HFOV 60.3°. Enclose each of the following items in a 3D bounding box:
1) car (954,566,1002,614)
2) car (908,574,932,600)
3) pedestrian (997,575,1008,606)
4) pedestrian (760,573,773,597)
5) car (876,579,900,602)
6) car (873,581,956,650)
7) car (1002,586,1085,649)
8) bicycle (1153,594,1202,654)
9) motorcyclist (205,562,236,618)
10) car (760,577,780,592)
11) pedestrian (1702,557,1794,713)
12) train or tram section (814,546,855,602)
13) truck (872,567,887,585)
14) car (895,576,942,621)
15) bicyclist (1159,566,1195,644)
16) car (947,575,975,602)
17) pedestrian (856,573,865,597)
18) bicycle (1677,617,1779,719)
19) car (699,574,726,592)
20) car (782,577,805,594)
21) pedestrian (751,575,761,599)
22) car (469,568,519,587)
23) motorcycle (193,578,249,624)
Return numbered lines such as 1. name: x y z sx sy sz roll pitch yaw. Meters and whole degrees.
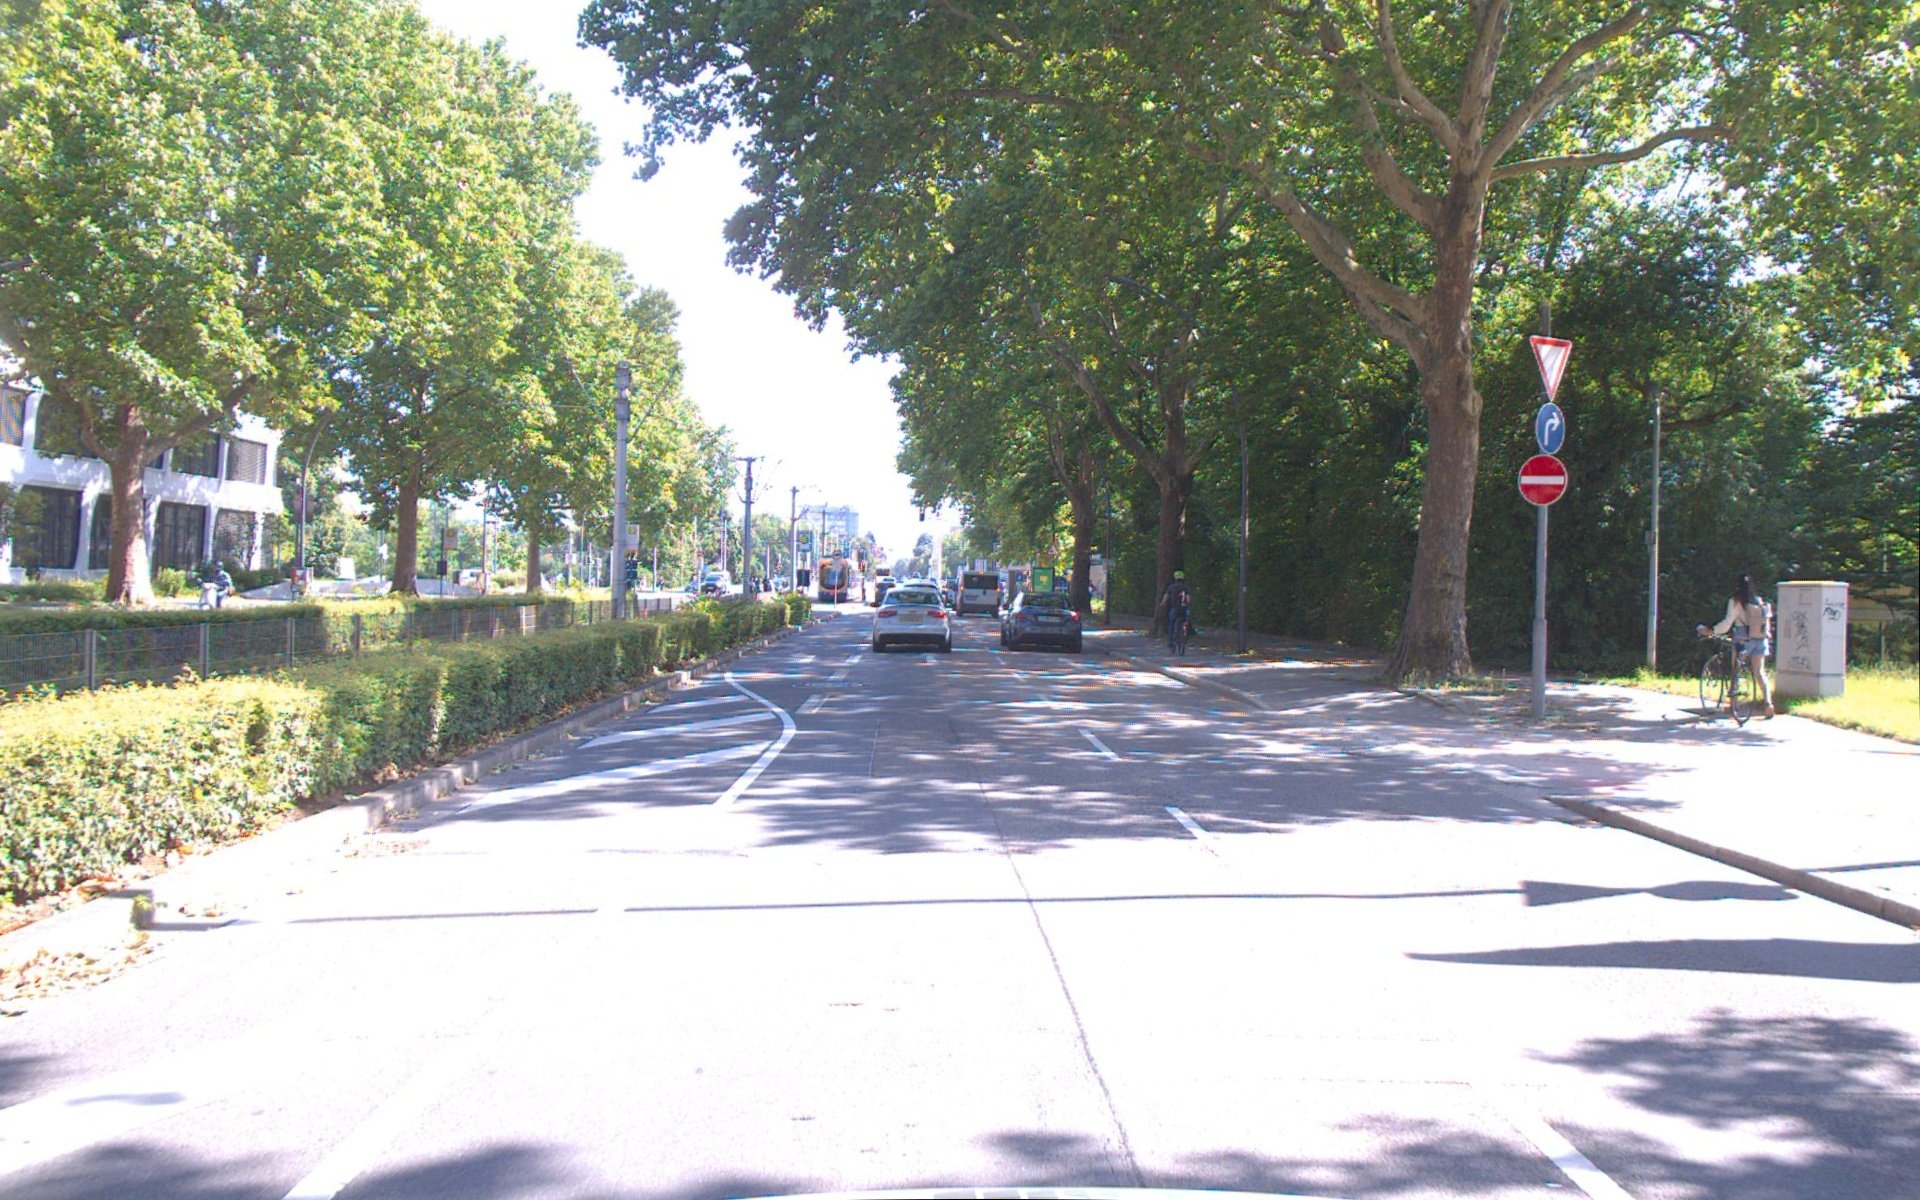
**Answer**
1. car: 0.862 -0.508 81.649 2.185 2.250 4.161 2 0 -1
2. car: -3.064 -0.985 126.984 1.694 1.934 3.999 2 0 -1
3. pedestrian: 2.740 -0.599 107.217 0.622 1.980 0.719 2 0 -1
4. pedestrian: -14.450 -1.129 123.706 0.758 1.764 0.755 2 0 7
5. car: -5.427 -0.700 124.819 1.694 1.659 3.999 2 0 -1
6. car: -1.027 0.325 37.827 1.748 1.445 3.884 2 0 -1
7. car: 2.038 0.388 41.370 1.746 1.445 3.999 2 0 -1
8. bicycle: 4.832 0.515 36.847 0.700 1.168 2.178 -1 3 -2
9. motorcyclist: -19.788 -0.269 44.267 0.569 1.482 0.533 1 0 -2
10. car: -20.859 -1.715 181.680 1.833 1.637 3.999 2 0 -1
11. pedestrian: 9.407 0.404 19.777 0.619 1.816 0.874 2 0 -2
12. train or tram section: -9.499 -1.963 125.727 2.563 4.085 7.748 2 0 -1
13. truck: -12.673 -3.776 260.783 1.953 2.839 8.517 2 1 -1
14. car: -1.571 -0.068 63.045 1.694 1.633 3.884 2 0 -1
15. bicyclist: 4.827 0.103 36.778 0.621 1.676 0.979 -1 2 -2
16. car: 0.051 -0.885 127.914 2.030 2.034 4.057 2 0 -1
17. pedestrian: -8.050 -1.213 133.912 0.611 1.951 0.689 2 0 -1
18. bicycle: 9.031 0.775 19.498 0.342 1.100 1.698 2 0 -2
19. car: -22.866 -1.588 153.030 1.793 1.652 4.895 1 1 -2
20. car: -17.443 -1.533 173.492 1.953 1.764 3.999 2 0 -1
21. pedestrian: -14.416 -0.913 116.797 0.581 1.675 0.554 2 0 -1
22. car: -40.490 -1.955 143.739 3.769 1.576 1.769 2 0 -1
23. motorcycle: -19.803 0.005 44.344 0.619 1.195 1.999 1 1 -1
